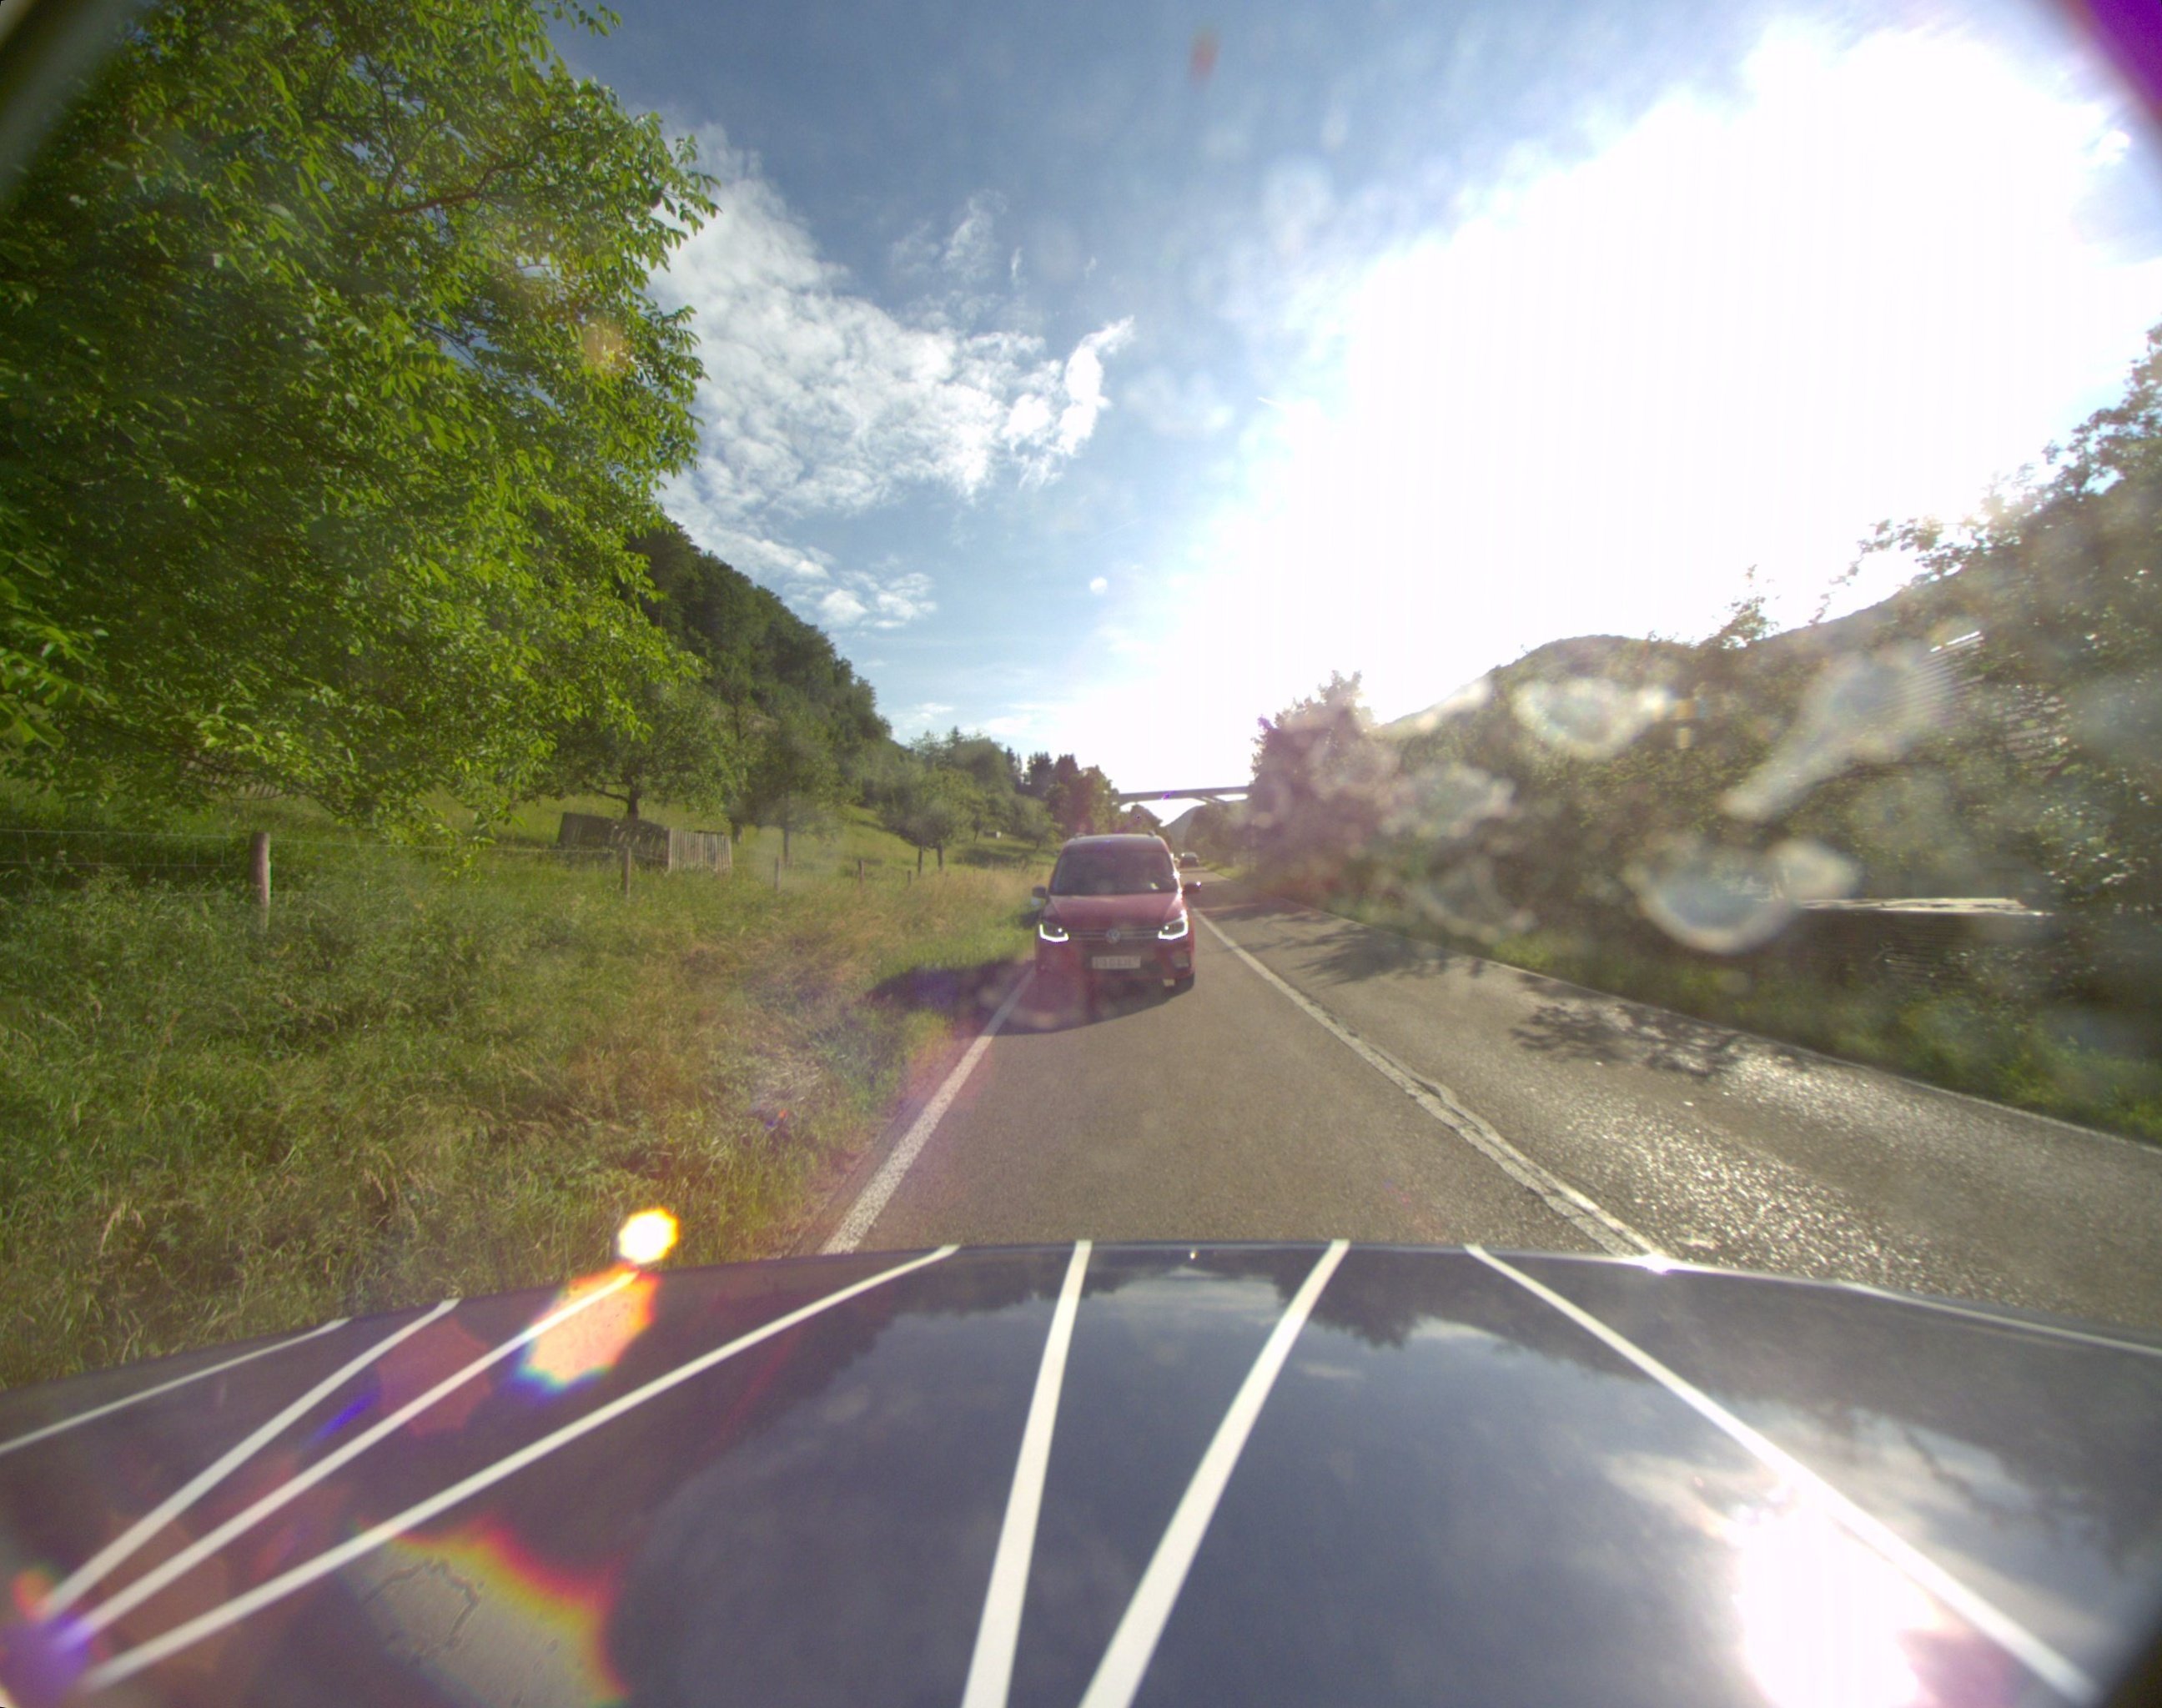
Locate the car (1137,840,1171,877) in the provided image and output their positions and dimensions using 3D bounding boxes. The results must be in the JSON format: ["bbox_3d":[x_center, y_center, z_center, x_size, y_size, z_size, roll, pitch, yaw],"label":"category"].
[{"bbox_3d":[4.143,0.206,43.157,1.758,1.926,4.001,-2,1,5],"label":"car"}]

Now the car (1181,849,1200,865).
[{"bbox_3d":[10.327,0.268,71.693,1.597,1.346,4.204,-2,1,6],"label":"car"}]

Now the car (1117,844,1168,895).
[{"bbox_3d":[2.353,0.544,29.182,1.758,1.745,4.001,-2,1,4],"label":"car"}]

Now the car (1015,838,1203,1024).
[{"bbox_3d":[0.426,0.723,9.561,1.758,1.745,4.430,-2,1,4],"label":"car"}]

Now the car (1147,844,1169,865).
[{"bbox_3d":[7.875,0.053,78.241,1.998,2.002,4.000,-2,1,4],"label":"car"}]

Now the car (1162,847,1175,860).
[{"bbox_3d":[14.143,-0.102,123.327,1.998,2.002,4.001,-2,1,5],"label":"car"}]
